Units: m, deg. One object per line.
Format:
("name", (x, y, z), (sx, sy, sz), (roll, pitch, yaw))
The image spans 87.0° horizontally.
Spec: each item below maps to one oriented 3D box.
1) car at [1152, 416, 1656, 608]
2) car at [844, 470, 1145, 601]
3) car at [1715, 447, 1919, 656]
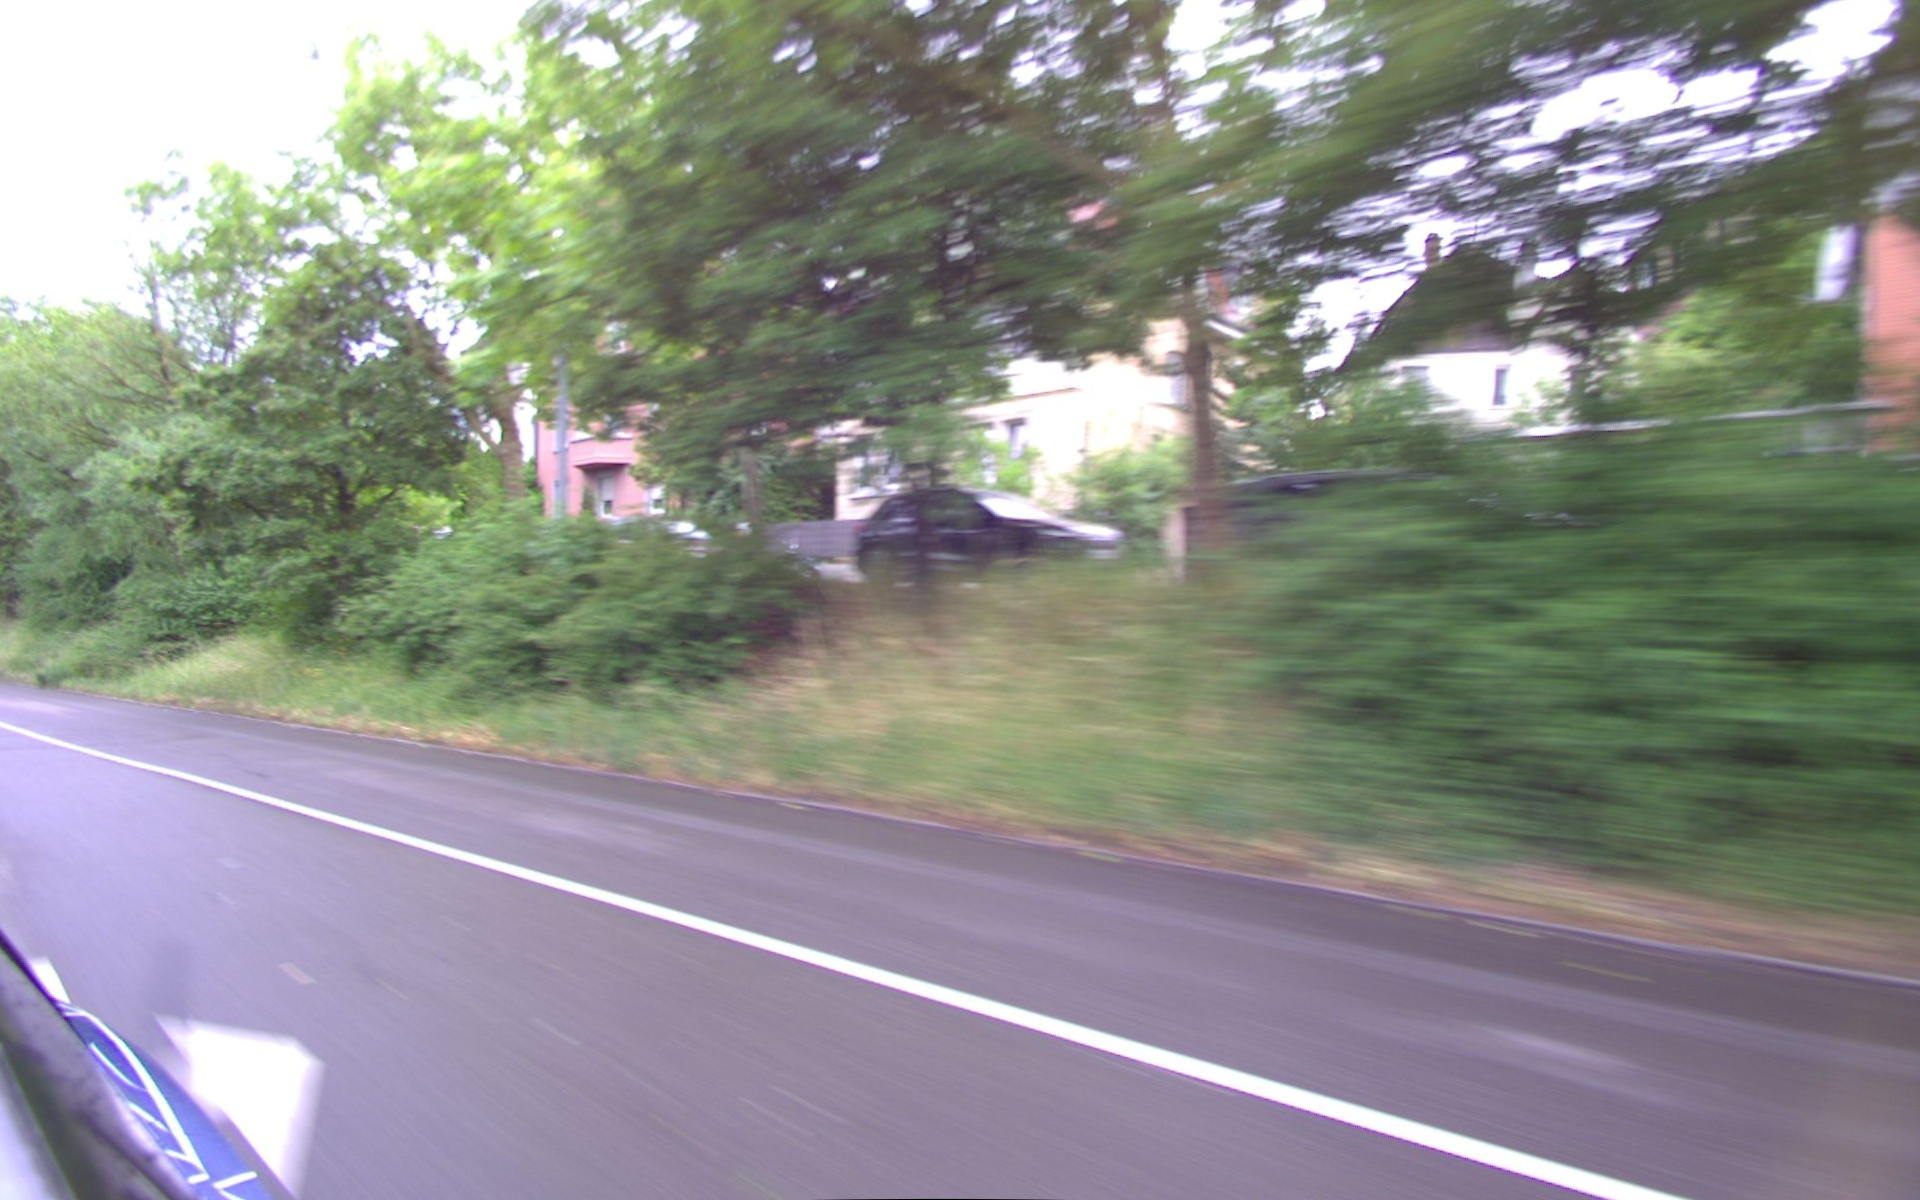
("car", (4.574, -0.755, 10.908), (4.626, 1.569, 1.811), (-2, -1, 42))
("car", (0.404, -0.832, 15.045), (4.284, 1.569, 1.811), (-2, -1, 42))
("car", (8.614, -0.402, 7.549), (4.626, 1.569, 1.811), (-2, -1, 42))
